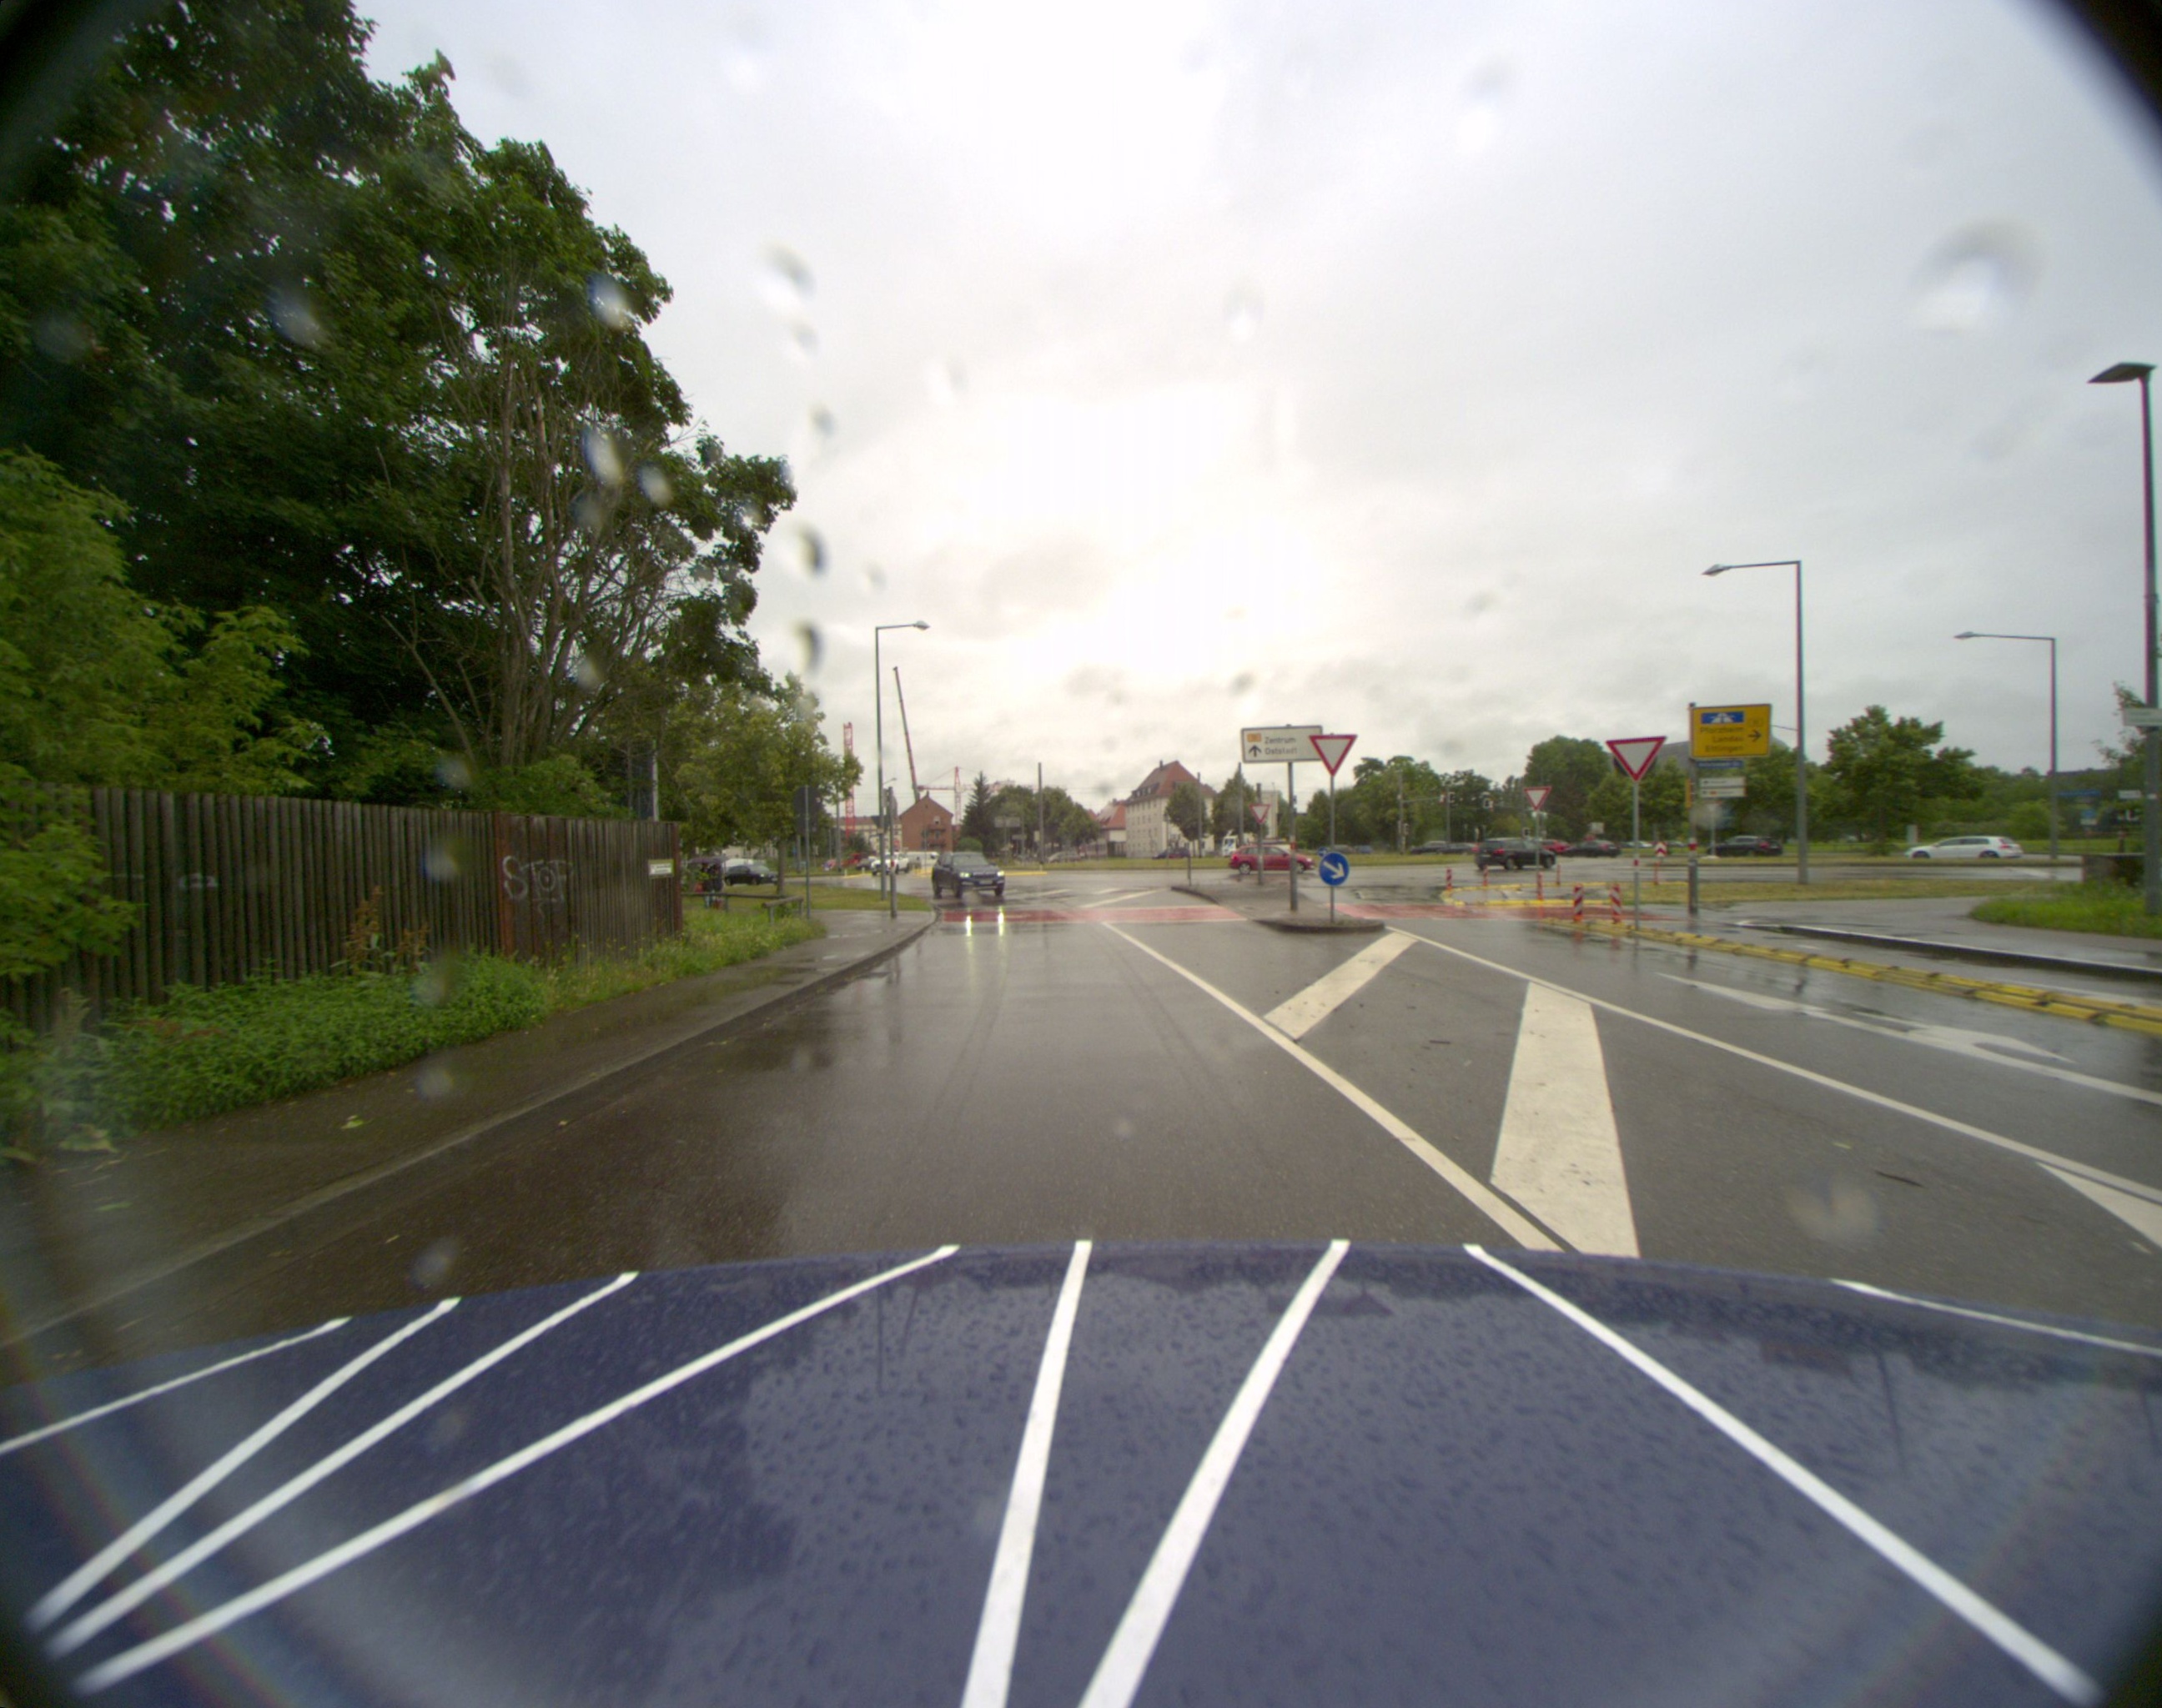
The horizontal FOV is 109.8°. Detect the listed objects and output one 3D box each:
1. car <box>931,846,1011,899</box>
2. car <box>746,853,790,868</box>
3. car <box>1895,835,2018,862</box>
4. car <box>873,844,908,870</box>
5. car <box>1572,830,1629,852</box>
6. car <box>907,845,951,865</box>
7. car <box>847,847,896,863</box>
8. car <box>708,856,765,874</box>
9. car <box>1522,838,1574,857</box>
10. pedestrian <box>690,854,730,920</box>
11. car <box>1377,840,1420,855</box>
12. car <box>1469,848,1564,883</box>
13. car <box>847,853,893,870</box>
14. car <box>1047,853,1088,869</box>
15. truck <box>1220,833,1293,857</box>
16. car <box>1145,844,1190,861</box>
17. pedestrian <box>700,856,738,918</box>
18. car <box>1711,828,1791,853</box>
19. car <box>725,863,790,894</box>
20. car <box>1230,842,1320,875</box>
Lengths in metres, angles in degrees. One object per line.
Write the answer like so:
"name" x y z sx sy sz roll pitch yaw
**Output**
"car" -4.397 0.626 29.786 1.920 1.737 4.373 -3 3 -24
"car" -56.366 1.134 137.067 6.834 2.462 2.355 -2 1 -5
"car" 49.560 -0.366 43.130 1.633 1.368 4.240 -3 3 -22
"car" -14.932 0.191 59.706 1.777 1.734 4.861 -2 3 -5
"car" 42.814 -1.071 62.707 1.787 1.639 4.392 -2 3 2
"car" -24.008 0.215 119.852 6.413 2.924 2.359 -1 3 19
"car" -29.565 0.130 107.342 6.413 2.003 2.359 -1 3 19
"car" -35.593 1.128 78.520 5.021 1.634 1.830 -2 3 1
"car" 44.864 -0.629 73.139 1.789 1.639 4.388 -2 3 -10
"pedestrian" -10.594 0.915 21.703 0.925 1.775 0.806 -3 4 -26
"car" 33.656 -0.693 80.557 3.989 1.441 1.851 -1 1 33
"car" 21.956 0.545 38.317 4.336 1.509 1.786 -3 2 -21
"car" -22.506 0.796 81.054 4.552 1.484 1.608 -3 3 -17
"car" -1.560 0.773 87.995 4.555 1.484 1.607 -3 3 -31
"truck" 21.872 -1.118 94.882 8.781 2.697 2.001 -1 3 14
"car" 9.875 -0.164 86.869 4.862 1.734 1.777 -2 3 1
"pedestrian" -10.904 0.977 22.859 0.925 1.775 0.806 -3 4 -26
"car" 48.235 -0.993 54.828 1.788 1.639 4.385 -2 3 -1
"car" -20.947 1.561 49.142 4.370 1.737 1.921 0 4 37
"car" 9.794 0.238 38.631 4.308 1.451 1.790 -2 2 11
